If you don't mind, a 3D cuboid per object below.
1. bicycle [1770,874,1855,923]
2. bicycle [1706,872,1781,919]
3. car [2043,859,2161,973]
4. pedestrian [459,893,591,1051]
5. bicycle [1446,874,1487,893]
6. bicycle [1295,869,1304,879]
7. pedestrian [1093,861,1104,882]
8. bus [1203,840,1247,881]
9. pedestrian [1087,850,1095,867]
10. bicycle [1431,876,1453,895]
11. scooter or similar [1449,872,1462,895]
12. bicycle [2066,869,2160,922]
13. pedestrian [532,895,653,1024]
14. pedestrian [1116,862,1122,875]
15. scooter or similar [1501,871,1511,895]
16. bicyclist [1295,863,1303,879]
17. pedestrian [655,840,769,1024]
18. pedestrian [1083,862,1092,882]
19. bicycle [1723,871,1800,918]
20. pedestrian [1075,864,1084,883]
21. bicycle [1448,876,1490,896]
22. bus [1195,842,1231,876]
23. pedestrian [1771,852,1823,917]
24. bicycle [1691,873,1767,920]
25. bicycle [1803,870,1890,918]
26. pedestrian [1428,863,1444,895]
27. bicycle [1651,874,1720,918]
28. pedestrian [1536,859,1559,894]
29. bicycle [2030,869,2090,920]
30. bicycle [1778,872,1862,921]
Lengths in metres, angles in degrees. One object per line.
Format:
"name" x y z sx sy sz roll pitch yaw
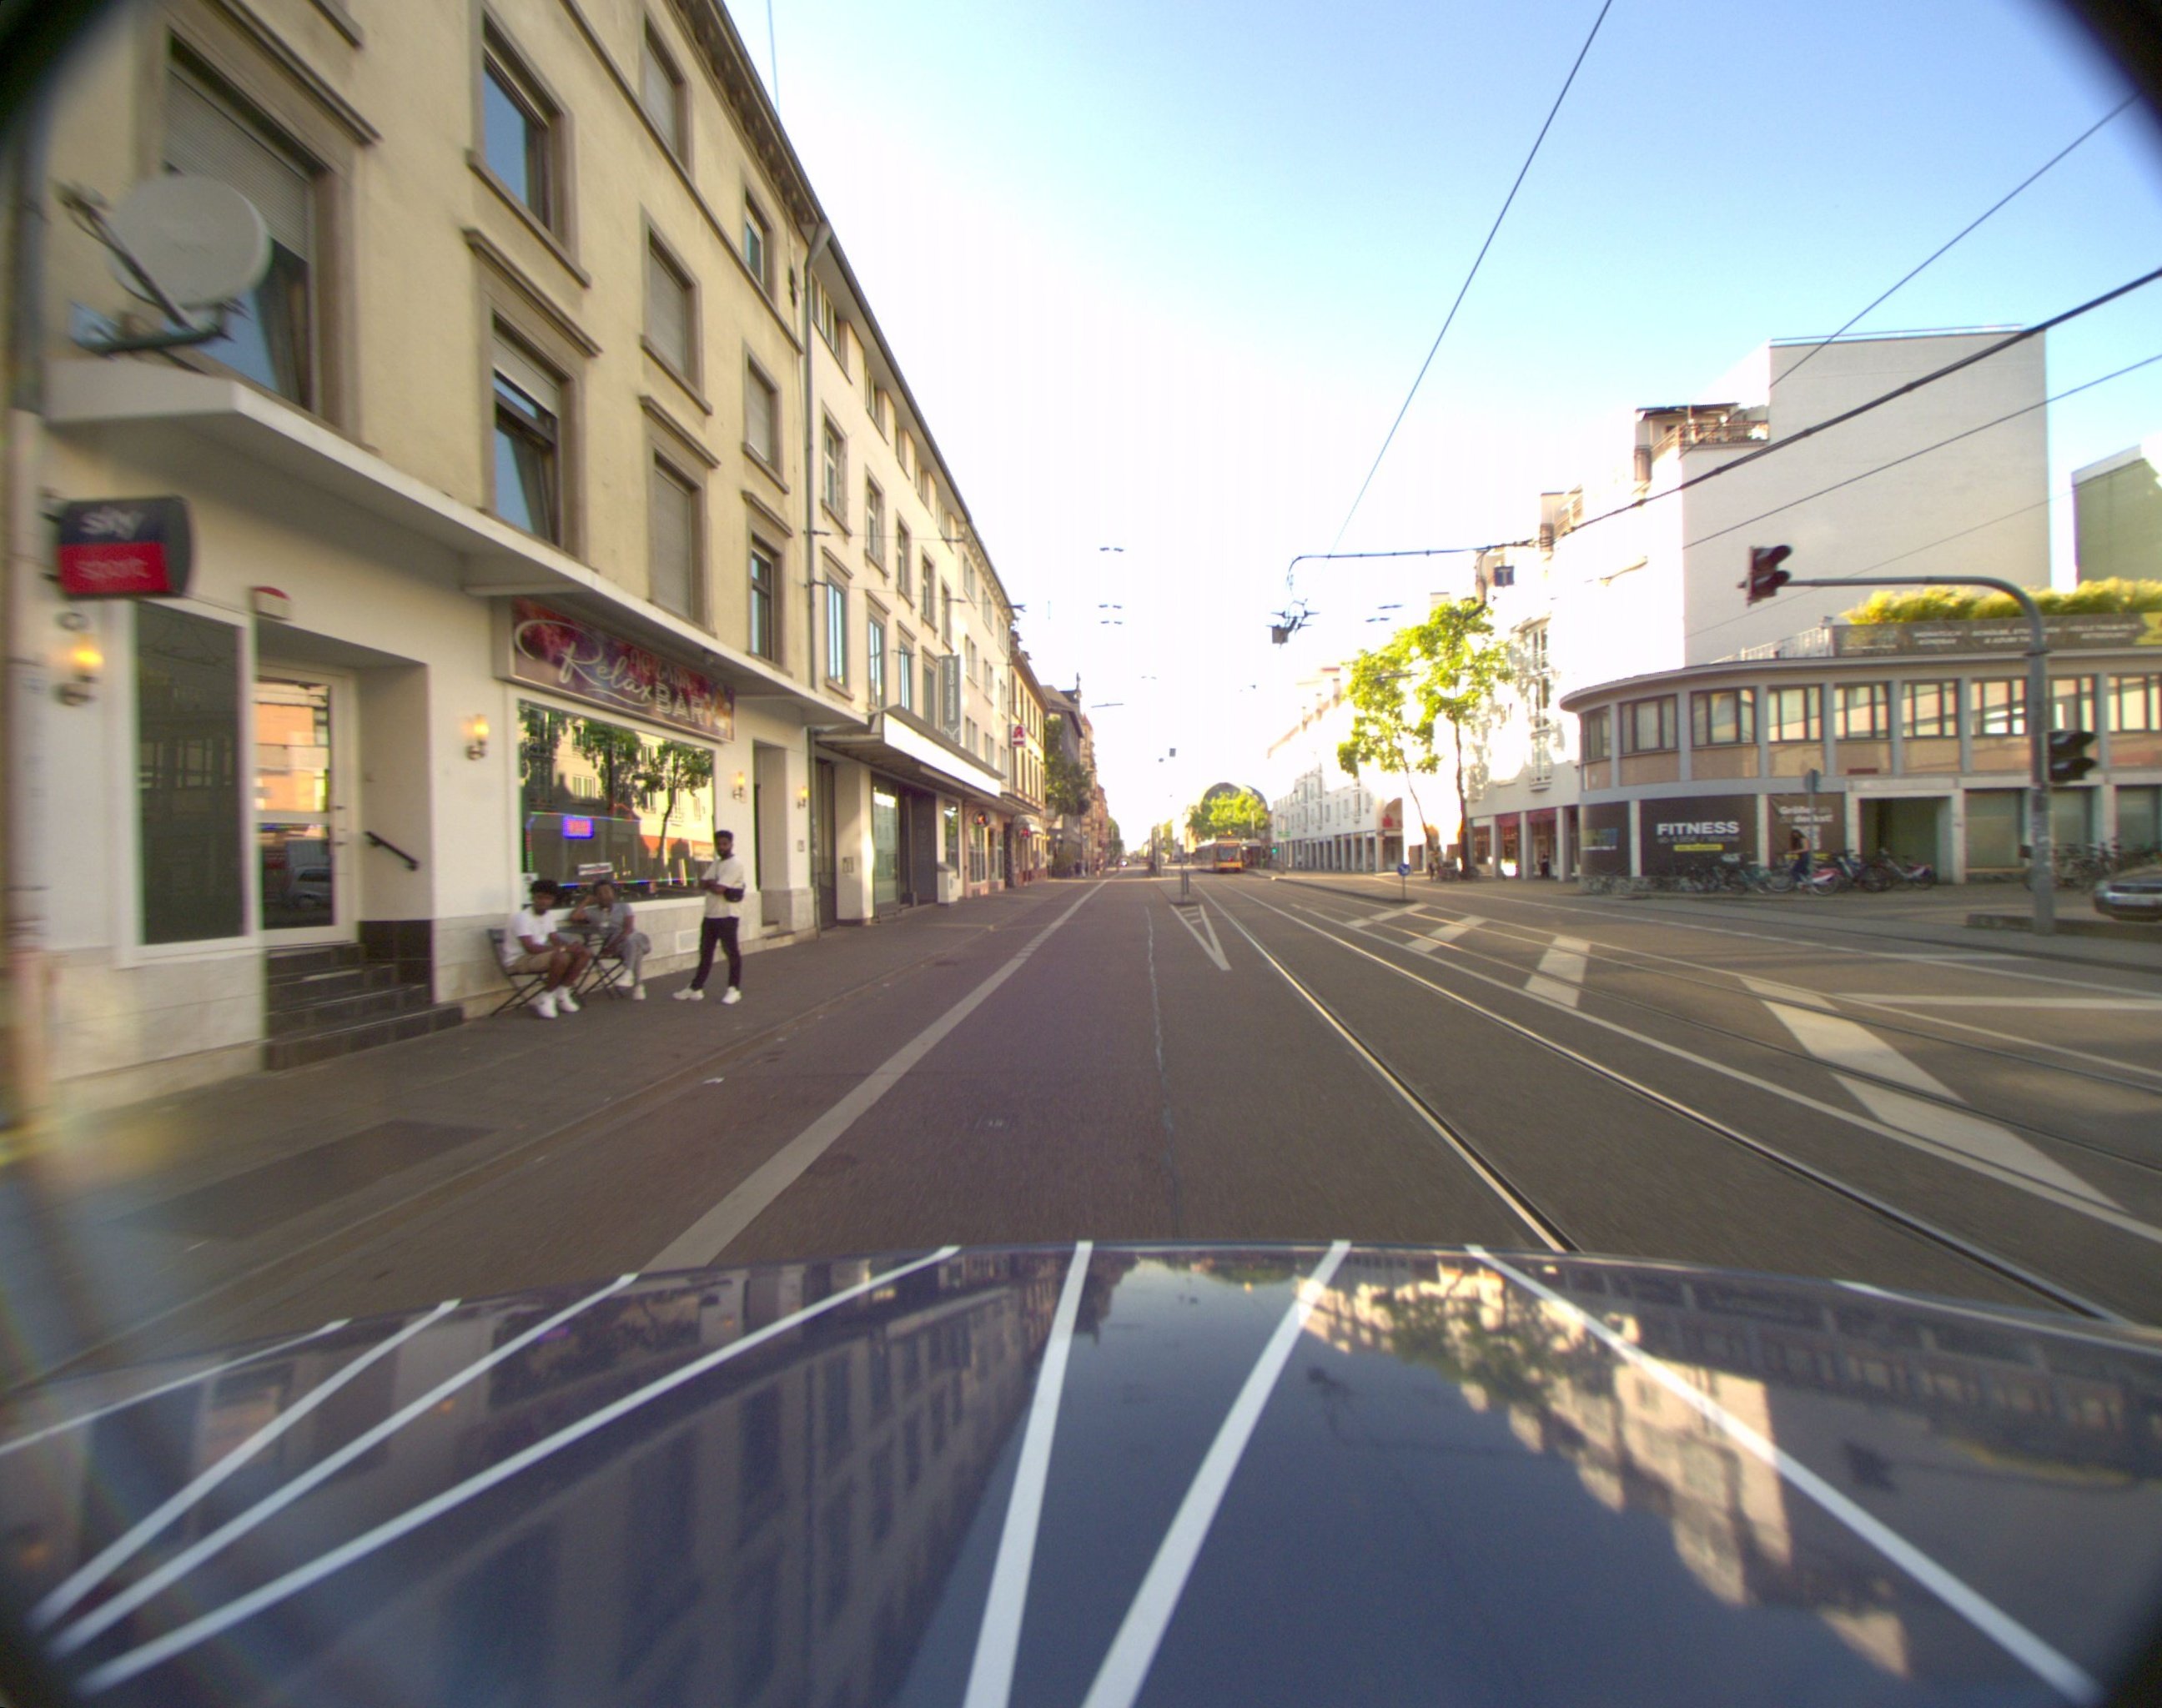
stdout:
"bicycle" 19.091 1.137 19.888 0.449 1.180 1.832 -2 0 1
"bicycle" 18.030 1.113 20.738 0.449 1.180 1.832 -2 0 1
"car" 17.906 0.829 11.124 4.905 1.574 1.880 -2 0 5
"pedestrian" -4.916 1.012 6.782 0.832 1.248 0.705 3 0 -31
"bicycle" 20.436 1.547 40.257 1.848 0.907 0.390 -4 -1 10
"bicycle" 24.281 2.227 84.516 0.518 0.983 1.727 -4 0 5
"pedestrian" 1.537 1.500 66.569 0.807 1.789 0.762 -2 1 5
"bus" 13.857 0.551 74.251 2.817 3.546 13.683 -2 0 5
"pedestrian" 1.056 0.445 79.070 0.650 1.760 0.697 -2 1 9
"bicycle" 19.240 1.682 40.565 0.389 0.907 1.852 -4 0 5
"scooter or similar" 21.590 1.688 43.844 0.378 1.271 1.181 -5 0 16
"bicycle" 24.709 0.994 18.201 1.830 1.180 0.349 -2 0 -2
"pedestrian" -4.970 1.047 7.800 0.707 1.168 1.014 3 0 -15
"pedestrian" 5.167 1.951 103.451 0.694 1.760 0.697 -2 1 9
"scooter or similar" 21.209 1.434 37.927 0.335 1.105 1.182 -2 1 27
"bicyclist" 24.245 1.863 84.499 0.514 1.690 0.808 -4 1 5
"pedestrian" -3.865 0.781 7.988 0.705 1.801 0.680 4 0 20
"pedestrian" 0.563 1.581 66.012 0.651 1.706 0.806 -2 1 -3
"bicycle" 18.450 1.071 20.647 0.444 1.180 1.832 -2 0 1
"pedestrian" -0.132 1.677 65.880 0.651 1.569 0.682 -2 1 -3
"bicycle" 20.036 1.669 39.211 1.848 0.907 0.389 -4 1 10
"bus" 15.038 0.490 87.733 2.817 3.546 13.683 -2 0 5
"pedestrian" 19.021 0.804 20.187 0.682 1.687 0.683 -2 0 2
"bicycle" 17.617 1.121 20.704 0.441 1.180 1.831 -2 0 -1
"bicycle" 20.195 1.026 20.101 0.449 1.180 1.832 -2 0 1
"pedestrian" 19.121 1.349 40.923 0.630 1.706 0.826 -2 1 32
"bicycle" 17.187 1.170 21.653 0.446 1.180 1.831 -2 0 -2
"pedestrian" 23.191 1.116 37.799 0.631 1.706 0.825 -2 1 6
"bicycle" 24.744 1.014 19.202 1.833 1.180 0.456 -2 0 -23
"bicycle" 19.576 1.100 20.174 0.449 1.180 1.832 -2 0 1
